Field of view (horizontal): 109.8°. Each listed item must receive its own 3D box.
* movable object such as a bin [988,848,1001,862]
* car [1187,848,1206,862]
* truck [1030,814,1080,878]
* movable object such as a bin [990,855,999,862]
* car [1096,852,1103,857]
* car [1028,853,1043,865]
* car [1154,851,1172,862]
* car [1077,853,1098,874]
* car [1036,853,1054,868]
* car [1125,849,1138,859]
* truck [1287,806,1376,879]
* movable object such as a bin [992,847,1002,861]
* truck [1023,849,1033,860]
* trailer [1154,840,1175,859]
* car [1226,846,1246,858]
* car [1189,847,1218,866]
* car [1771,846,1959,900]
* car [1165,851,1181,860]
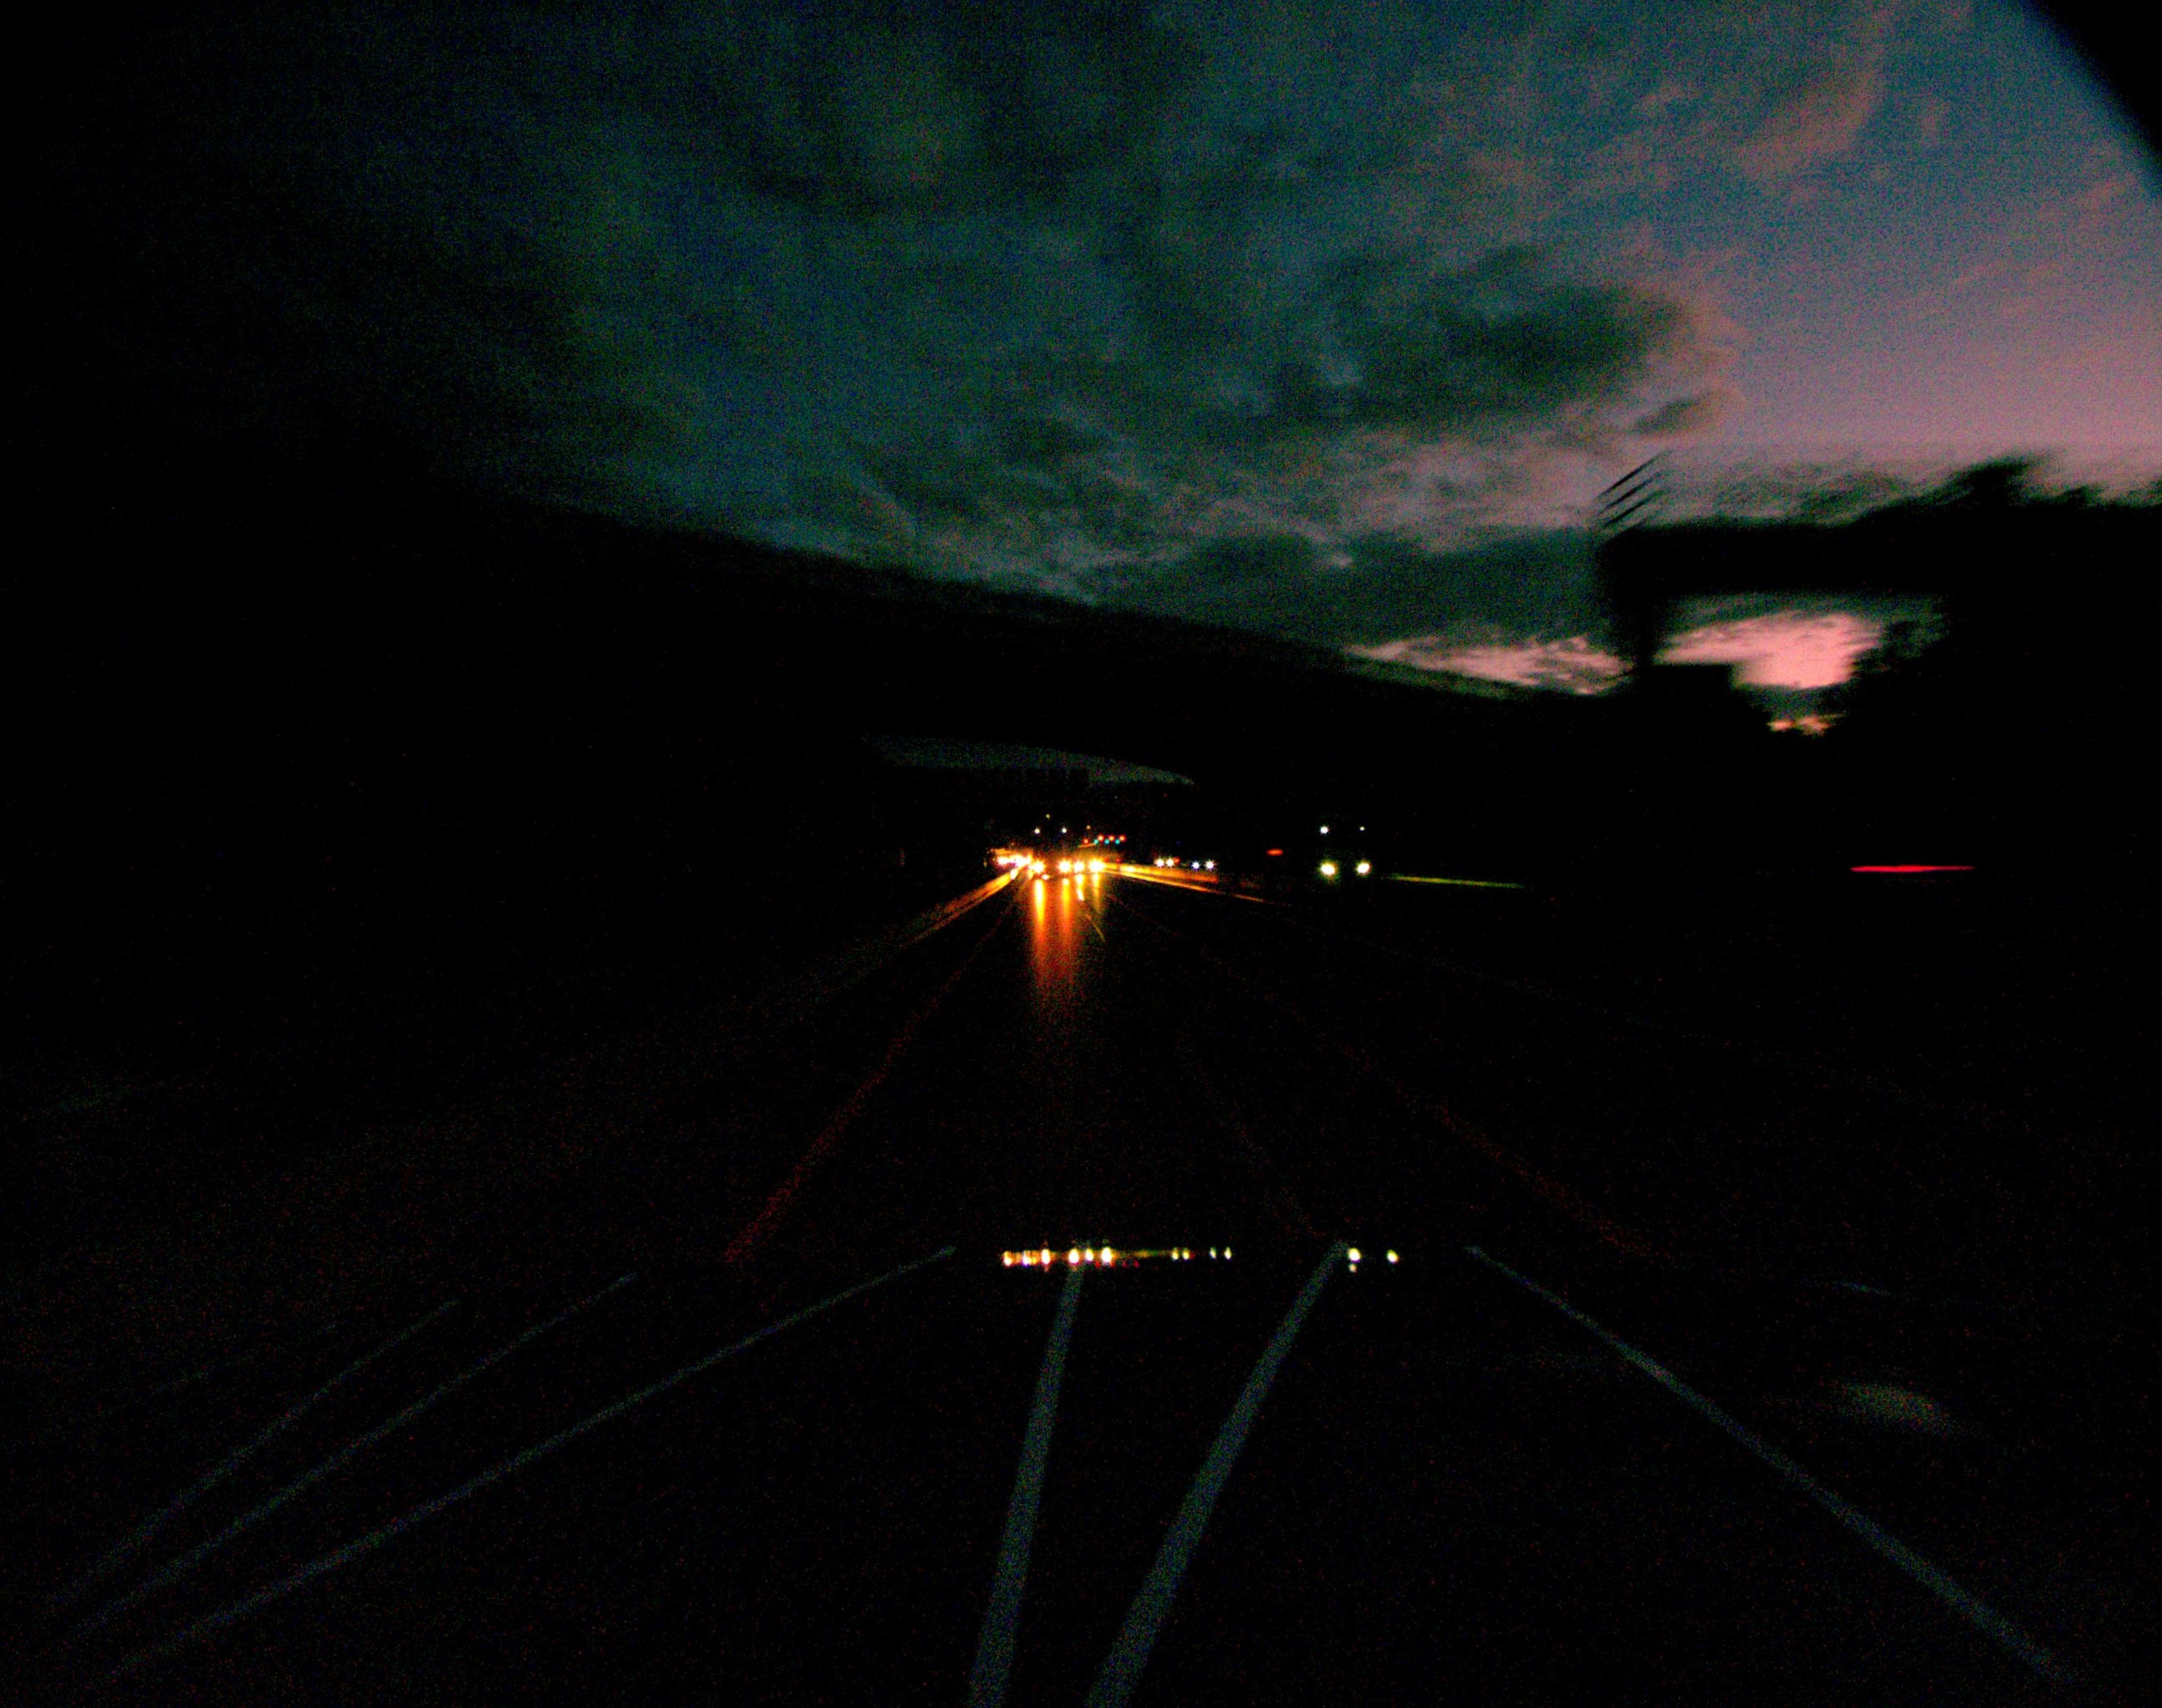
[{"bbox_3d":[-19.298,0.253,169.819,2.629,3.090,5.802,-1,0,-6],"label":"movable object such as a bin"},{"bbox_3d":[18.449,0.120,121.273,1.999,2.177,4.800,-3,1,-4],"label":"car"},{"bbox_3d":[-2.146,-0.558,57.554,2.955,4.241,11.046,-3,1,-5],"label":"truck"},{"bbox_3d":[-19.910,0.974,174.748,1.999,1.592,4.082,0,1,-5],"label":"movable object such as a bin"},{"bbox_3d":[6.154,0.089,255.475,1.741,1.628,4.889,-3,1,-3],"label":"car"},{"bbox_3d":[-6.140,0.670,102.448,1.926,1.606,3.998,-1,0,-5],"label":"car"},{"bbox_3d":[11.900,0.378,110.332,1.792,1.472,3.998,-3,1,-4],"label":"car"},{"bbox_3d":[0.548,0.762,64.677,1.663,1.586,3.996,-3,1,0],"label":"car"},{"bbox_3d":[-4.189,0.728,88.792,1.926,1.606,3.998,-1,0,-5],"label":"car"},{"bbox_3d":[8.334,-0.054,125.063,1.510,1.472,3.823,-3,1,-4],"label":"car"},{"bbox_3d":[14.127,-0.640,43.465,2.810,3.753,6.301,-3,1,-1],"label":"truck"},{"bbox_3d":[-21.358,-0.010,193.168,2.572,3.299,5.575,0,0,-6],"label":"movable object such as a bin"},{"bbox_3d":[-14.303,0.029,205.767,1.998,2.817,6.295,-3,1,1],"label":"truck"},{"bbox_3d":[18.807,-1.024,172.378,2.786,4.181,12.398,-3,1,-2],"label":"trailer"},{"bbox_3d":[19.416,-0.250,95.375,1.631,1.398,3.519,-3,1,-3],"label":"car"},{"bbox_3d":[13.534,0.269,84.158,2.096,1.873,4.698,-3,1,-4],"label":"car"},{"bbox_3d":[24.062,0.523,23.549,1.707,1.447,3.929,-3,1,-1],"label":"car"},{"bbox_3d":[17.250,0.232,142.776,1.999,1.664,4.580,-3,1,-4],"label":"car"}]
